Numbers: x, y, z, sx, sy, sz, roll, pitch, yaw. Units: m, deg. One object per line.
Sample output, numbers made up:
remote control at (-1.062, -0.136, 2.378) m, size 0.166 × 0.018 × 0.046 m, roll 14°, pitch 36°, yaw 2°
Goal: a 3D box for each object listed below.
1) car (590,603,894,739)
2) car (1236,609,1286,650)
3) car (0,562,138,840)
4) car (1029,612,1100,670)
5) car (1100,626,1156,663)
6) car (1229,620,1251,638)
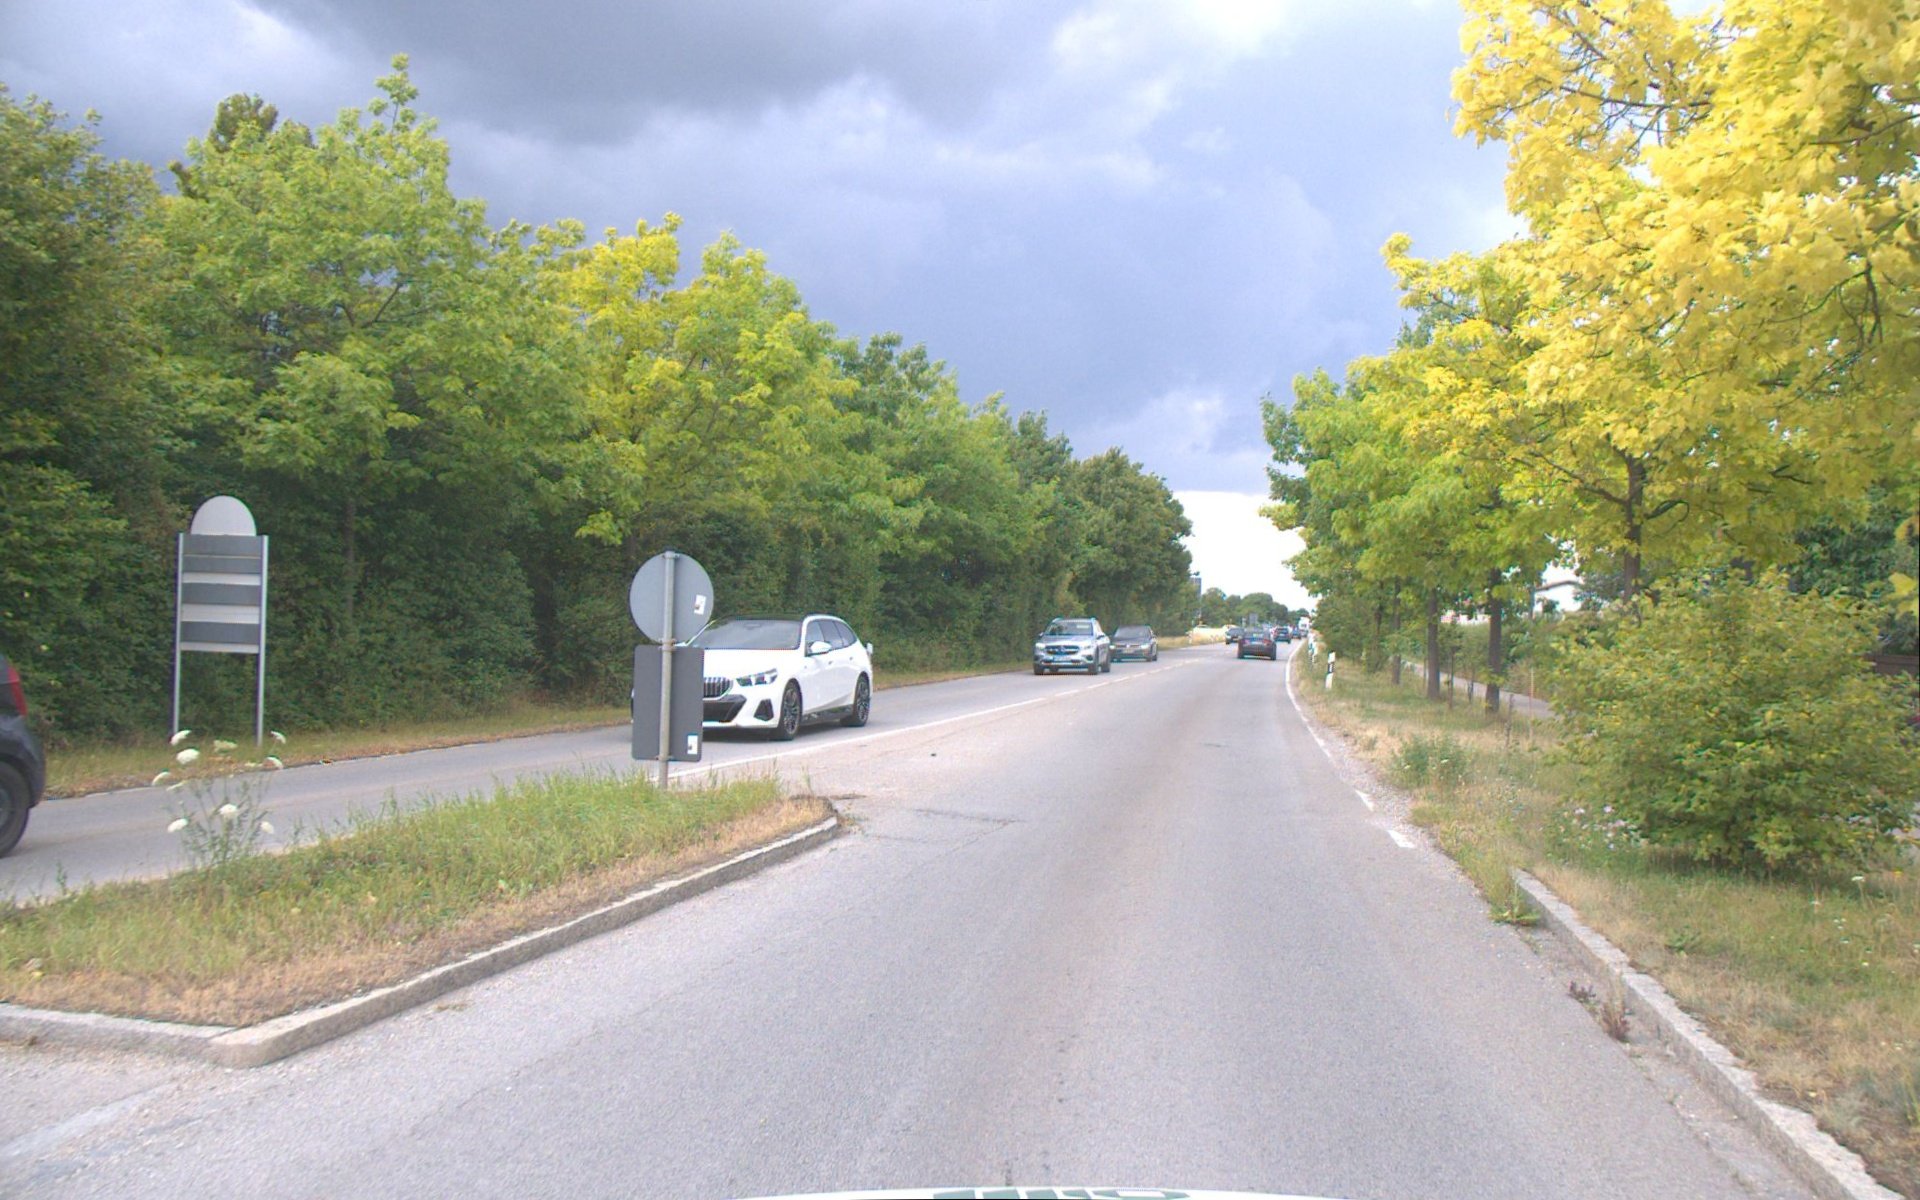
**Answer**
car at (-2.591, 0.803, 21.117) m, size 2.166 × 1.479 × 4.946 m, roll 1°, pitch 0°, yaw 14°
car at (14.538, 1.414, 80.063) m, size 2.321 × 1.914 × 4.481 m, roll 0°, pitch -1°, yaw 10°
car at (-6.192, 0.530, 8.027) m, size 1.646 × 1.479 × 4.002 m, roll 0°, pitch 0°, yaw 17°
car at (3.159, 1.216, 49.301) m, size 1.951 × 1.629 × 4.667 m, roll 0°, pitch -1°, yaw 5°
car at (6.841, 1.803, 67.157) m, size 1.951 × 1.444 × 4.481 m, roll 0°, pitch -1°, yaw 10°
car at (24.937, 2.567, 147.308) m, size 1.899 × 1.614 × 4.559 m, roll 0°, pitch -1°, yaw 10°
